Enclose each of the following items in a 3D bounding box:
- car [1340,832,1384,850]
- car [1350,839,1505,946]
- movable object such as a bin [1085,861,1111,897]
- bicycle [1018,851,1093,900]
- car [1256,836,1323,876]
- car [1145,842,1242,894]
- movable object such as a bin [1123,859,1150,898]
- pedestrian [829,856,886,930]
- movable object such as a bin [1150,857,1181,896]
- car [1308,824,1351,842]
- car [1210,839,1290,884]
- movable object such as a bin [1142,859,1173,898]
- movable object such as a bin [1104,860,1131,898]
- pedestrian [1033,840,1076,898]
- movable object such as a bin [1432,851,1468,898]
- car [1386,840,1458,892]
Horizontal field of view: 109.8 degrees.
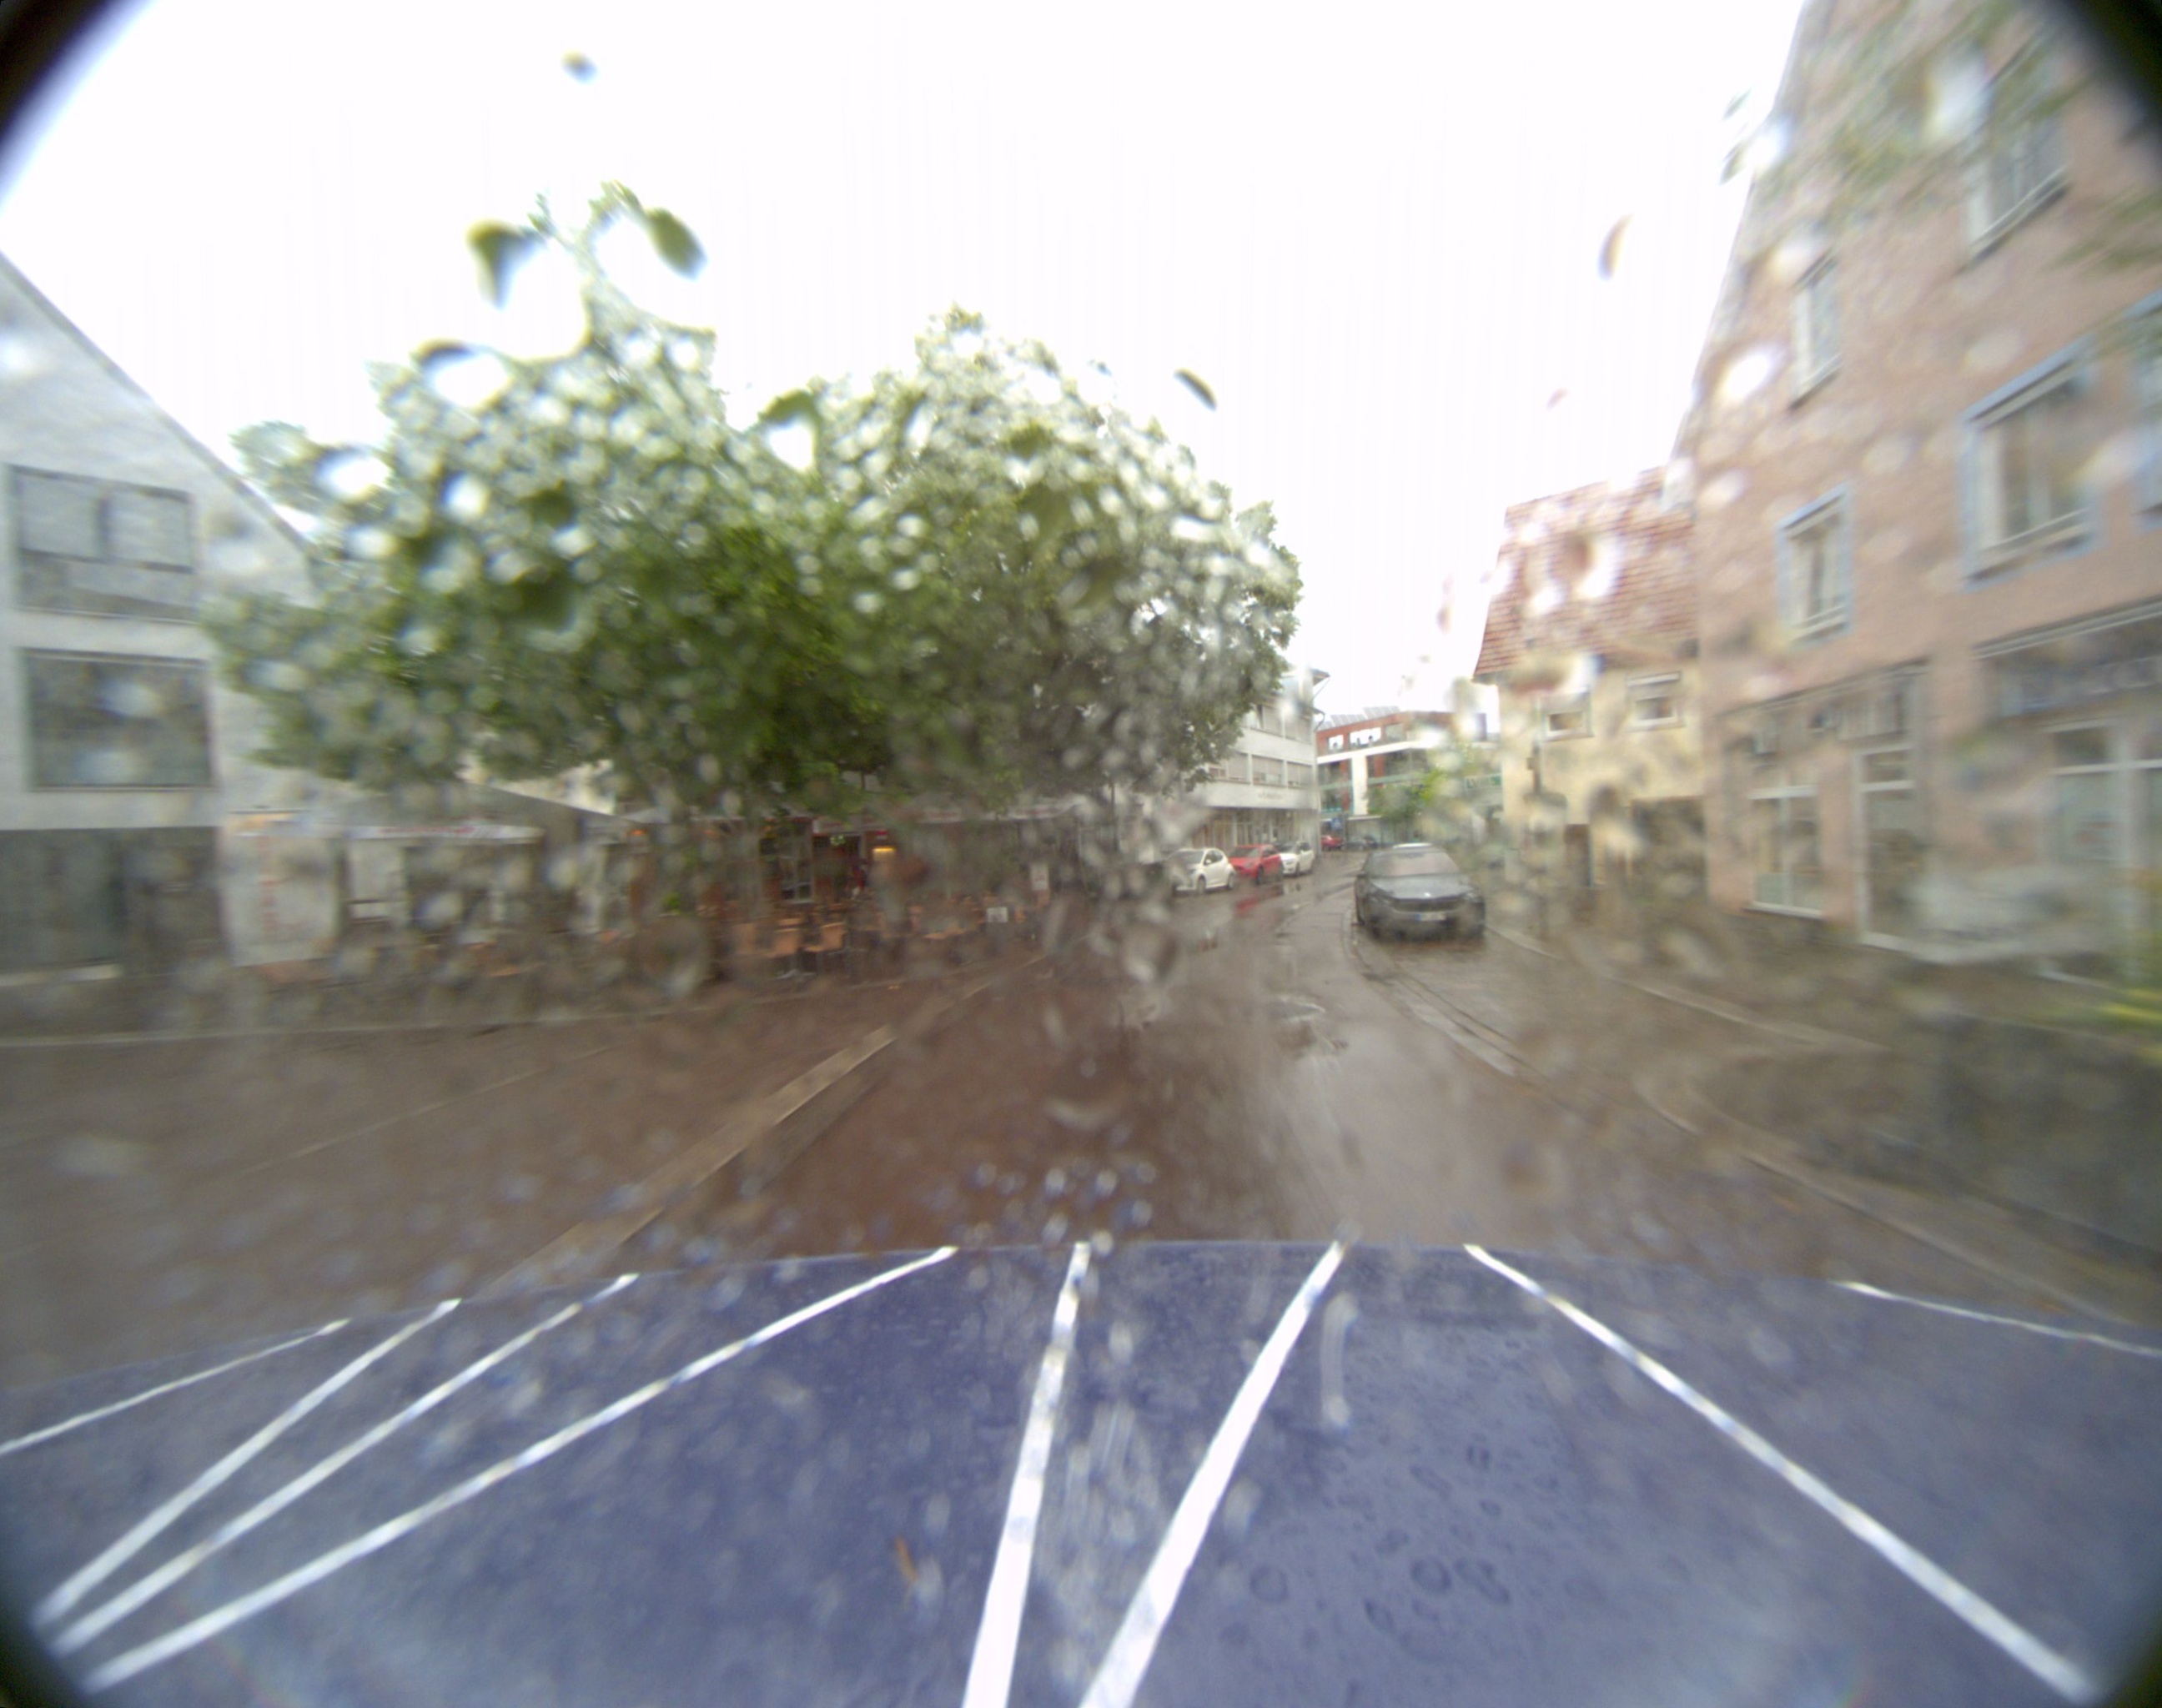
[{"bbox_3d":[25.961,-1.194,70.341,1.681,1.428,3.578,-5,2,-25],"label":"car"},{"bbox_3d":[5.894,0.568,13.465,1.878,1.531,4.405,-3,0,17],"label":"car"},{"bbox_3d":[0.536,0.781,23.601,0.538,1.077,0.729,0,1,29],"label":"movable object such as a bin"},{"bbox_3d":[-0.752,0.634,23.327,2.220,1.343,0.925,-3,3,-43],"label":"bicycle"},{"bbox_3d":[9.712,0.059,35.176,1.789,1.590,4.447,-2,1,31],"label":"car"},{"bbox_3d":[3.889,0.427,25.618,1.788,1.547,3.956,-1,1,31],"label":"car"},{"bbox_3d":[1.686,0.730,22.885,0.538,1.136,0.729,-1,1,29],"label":"movable object such as a bin"},{"bbox_3d":[-5.433,0.931,18.473,0.885,1.704,0.891,-2,3,43],"label":"pedestrian"},{"bbox_3d":[2.559,0.676,23.032,0.726,1.087,0.611,-3,2,22],"label":"movable object such as a bin"},{"bbox_3d":[24.369,-2.081,74.675,1.805,1.546,3.913,-5,2,-24],"label":"car"},{"bbox_3d":[6.804,0.258,30.324,1.789,1.460,3.955,-2,2,33],"label":"car"},{"bbox_3d":[2.261,0.715,22.422,0.726,1.077,0.605,-3,2,22],"label":"movable object such as a bin"},{"bbox_3d":[1.108,0.752,23.192,0.538,1.124,0.729,-1,1,28],"label":"movable object such as a bin"},{"bbox_3d":[-0.808,0.442,23.277,0.863,1.689,0.910,-5,4,-43],"label":"pedestrian"},{"bbox_3d":[9.553,0.529,19.663,0.700,1.115,0.720,-5,1,30],"label":"movable object such as a bin"},{"bbox_3d":[10.729,0.337,24.071,1.851,1.443,4.079,-3,-1,22],"label":"car"}]
